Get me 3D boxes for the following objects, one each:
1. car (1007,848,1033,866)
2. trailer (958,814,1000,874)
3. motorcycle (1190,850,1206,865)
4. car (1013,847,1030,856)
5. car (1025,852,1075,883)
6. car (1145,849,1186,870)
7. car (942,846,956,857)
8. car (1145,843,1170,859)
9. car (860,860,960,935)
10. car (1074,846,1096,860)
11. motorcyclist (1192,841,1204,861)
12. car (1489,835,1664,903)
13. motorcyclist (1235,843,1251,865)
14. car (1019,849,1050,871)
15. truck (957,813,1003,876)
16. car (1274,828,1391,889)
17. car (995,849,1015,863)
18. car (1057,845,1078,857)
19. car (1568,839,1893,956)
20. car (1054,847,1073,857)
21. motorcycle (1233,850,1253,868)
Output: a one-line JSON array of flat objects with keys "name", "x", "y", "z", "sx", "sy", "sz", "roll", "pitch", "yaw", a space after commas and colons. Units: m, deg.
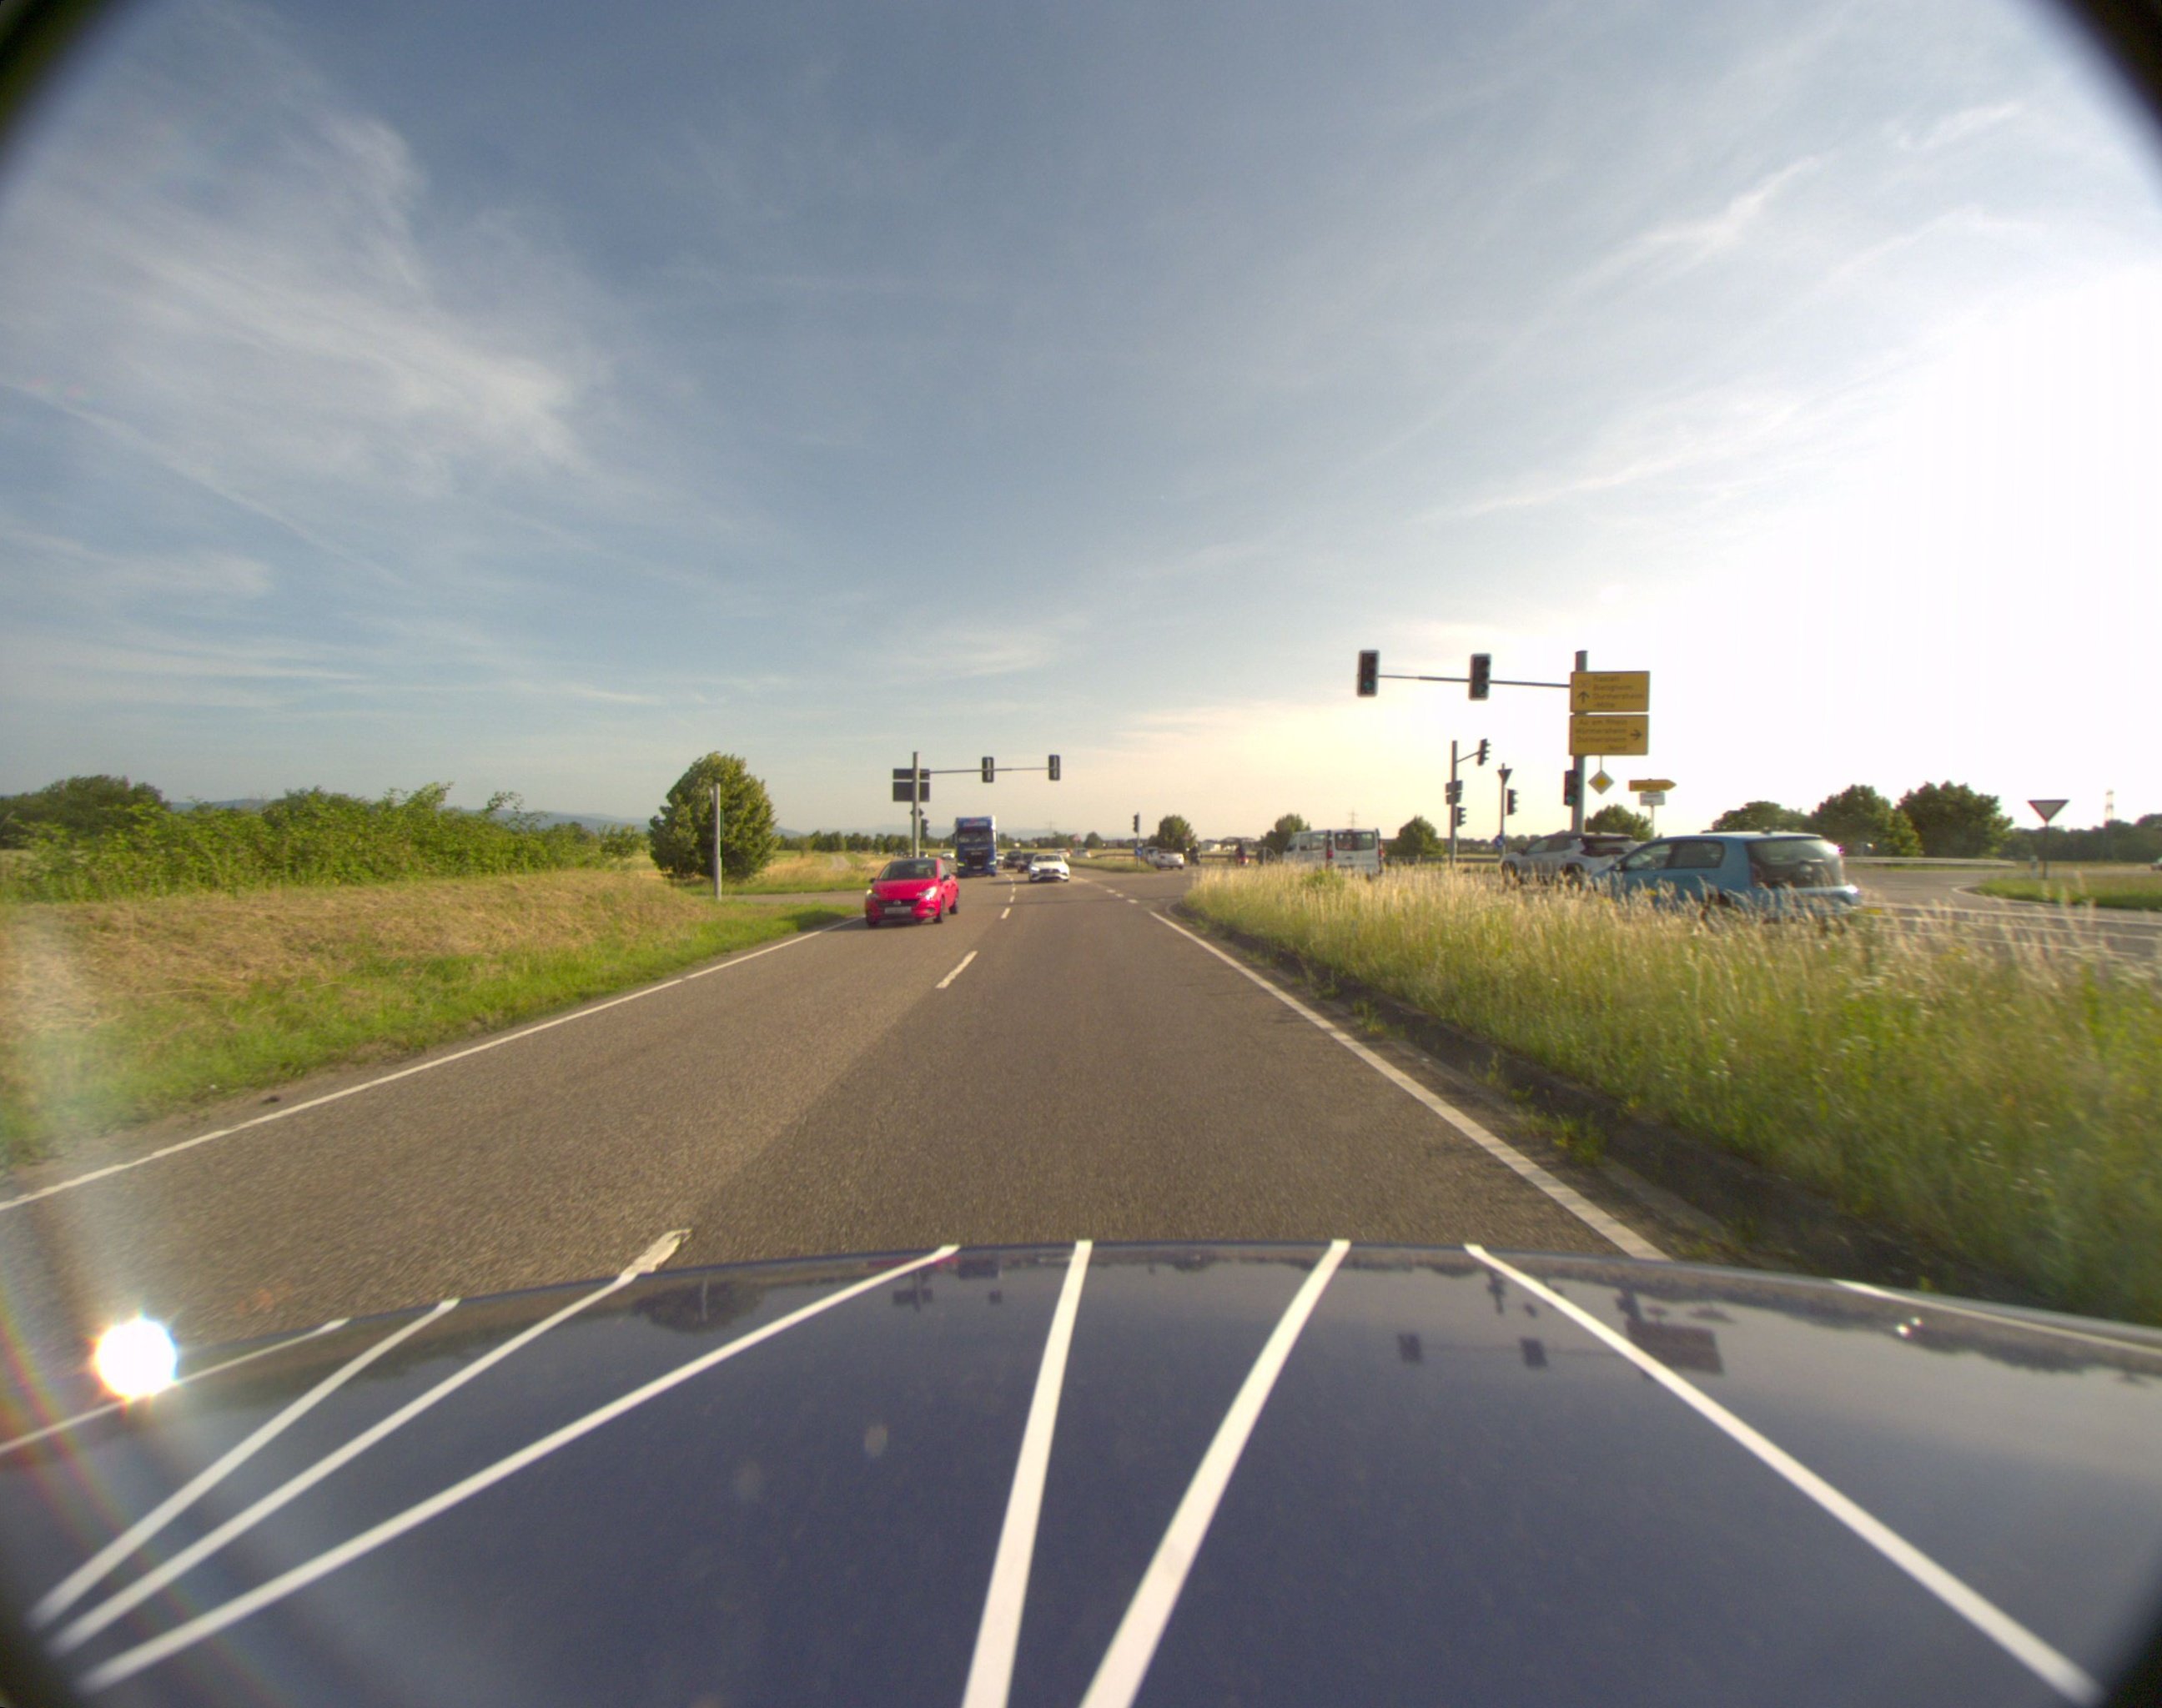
[{"name": "car", "x": -5.419, "y": 0.259, "z": 67.060, "sx": 1.832, "sy": 1.521, "sz": 3.996, "roll": -1, "pitch": 1, "yaw": -10}, {"name": "trailer", "x": -7.956, "y": -0.744, "z": 57.916, "sx": 2.653, "sy": 3.956, "sz": 13.917, "roll": -2, "pitch": 1, "yaw": -9}, {"name": "motorcycle", "x": 9.024, "y": 0.269, "z": 58.595, "sx": 0.703, "sy": 1.131, "sz": 2.276, "roll": -1, "pitch": 0, "yaw": -4}, {"name": "car", "x": -9.684, "y": -0.444, "z": 123.797, "sx": 1.934, "sy": 1.426, "sz": 4.694, "roll": -1, "pitch": 1, "yaw": -15}, {"name": "car", "x": -1.587, "y": 0.612, "z": 37.501, "sx": 1.877, "sy": 1.390, "sz": 4.200, "roll": -1, "pitch": 1, "yaw": -10}, {"name": "car", "x": 5.639, "y": 0.324, "z": 51.204, "sx": 1.700, "sy": 1.345, "sz": 4.449, "roll": -1, "pitch": 1, "yaw": -7}, {"name": "car", "x": -21.764, "y": -0.420, "z": 125.322, "sx": 2.001, "sy": 1.871, "sz": 3.995, "roll": -1, "pitch": 1, "yaw": -14}, {"name": "car", "x": 7.195, "y": -0.322, "z": 71.667, "sx": 1.691, "sy": 1.404, "sz": 3.519, "roll": -1, "pitch": 1, "yaw": -6}, {"name": "car", "x": -3.896, "y": 0.926, "z": 17.950, "sx": 1.666, "sy": 1.455, "sz": 3.953, "roll": -2, "pitch": 1, "yaw": -4}, {"name": "car", "x": 0.415, "y": -0.149, "z": 84.112, "sx": 1.691, "sy": 1.514, "sz": 4.088, "roll": -2, "pitch": 1, "yaw": -9}, {"name": "motorcyclist", "x": 9.013, "y": -0.212, "z": 58.578, "sx": 0.699, "sy": 1.494, "sz": 0.896, "roll": -1, "pitch": 1, "yaw": -4}, {"name": "car", "x": 12.550, "y": 0.330, "z": 19.604, "sx": 1.710, "sy": 1.516, "sz": 4.133, "roll": -1, "pitch": 1, "yaw": -2}, {"name": "motorcyclist", "x": 10.569, "y": -0.006, "z": 49.648, "sx": 0.706, "sy": 1.456, "sz": 1.020, "roll": -1, "pitch": 1, "yaw": -4}, {"name": "car", "x": -3.433, "y": 0.424, "z": 55.128, "sx": 1.753, "sy": 1.521, "sz": 3.996, "roll": -1, "pitch": 1, "yaw": -11}, {"name": "truck", "x": -6.776, "y": -0.634, "z": 50.552, "sx": 2.653, "sy": 3.897, "sz": 5.945, "roll": -2, "pitch": 1, "yaw": -9}, {"name": "car", "x": 8.747, "y": 0.107, "z": 27.059, "sx": 1.999, "sy": 1.893, "sz": 5.787, "roll": -1, "pitch": 1, "yaw": -2}, {"name": "car", "x": -8.062, "y": 0.207, "z": 80.054, "sx": 1.696, "sy": 1.406, "sz": 3.996, "roll": -1, "pitch": 1, "yaw": -11}, {"name": "car", "x": -1.688, "y": -0.406, "z": 93.067, "sx": 1.736, "sy": 1.405, "sz": 4.389, "roll": -2, "pitch": 1, "yaw": -12}, {"name": "car", "x": 9.471, "y": 0.538, "z": 11.538, "sx": 1.683, "sy": 1.435, "sz": 3.751, "roll": -2, "pitch": 1, "yaw": -1}, {"name": "car", "x": -2.428, "y": -0.279, "z": 106.863, "sx": 1.667, "sy": 1.458, "sz": 4.016, "roll": -1, "pitch": 1, "yaw": -16}, {"name": "motorcycle", "x": 10.582, "y": 0.321, "z": 49.657, "sx": 0.710, "sy": 1.152, "sz": 2.022, "roll": -1, "pitch": 1, "yaw": -4}]
